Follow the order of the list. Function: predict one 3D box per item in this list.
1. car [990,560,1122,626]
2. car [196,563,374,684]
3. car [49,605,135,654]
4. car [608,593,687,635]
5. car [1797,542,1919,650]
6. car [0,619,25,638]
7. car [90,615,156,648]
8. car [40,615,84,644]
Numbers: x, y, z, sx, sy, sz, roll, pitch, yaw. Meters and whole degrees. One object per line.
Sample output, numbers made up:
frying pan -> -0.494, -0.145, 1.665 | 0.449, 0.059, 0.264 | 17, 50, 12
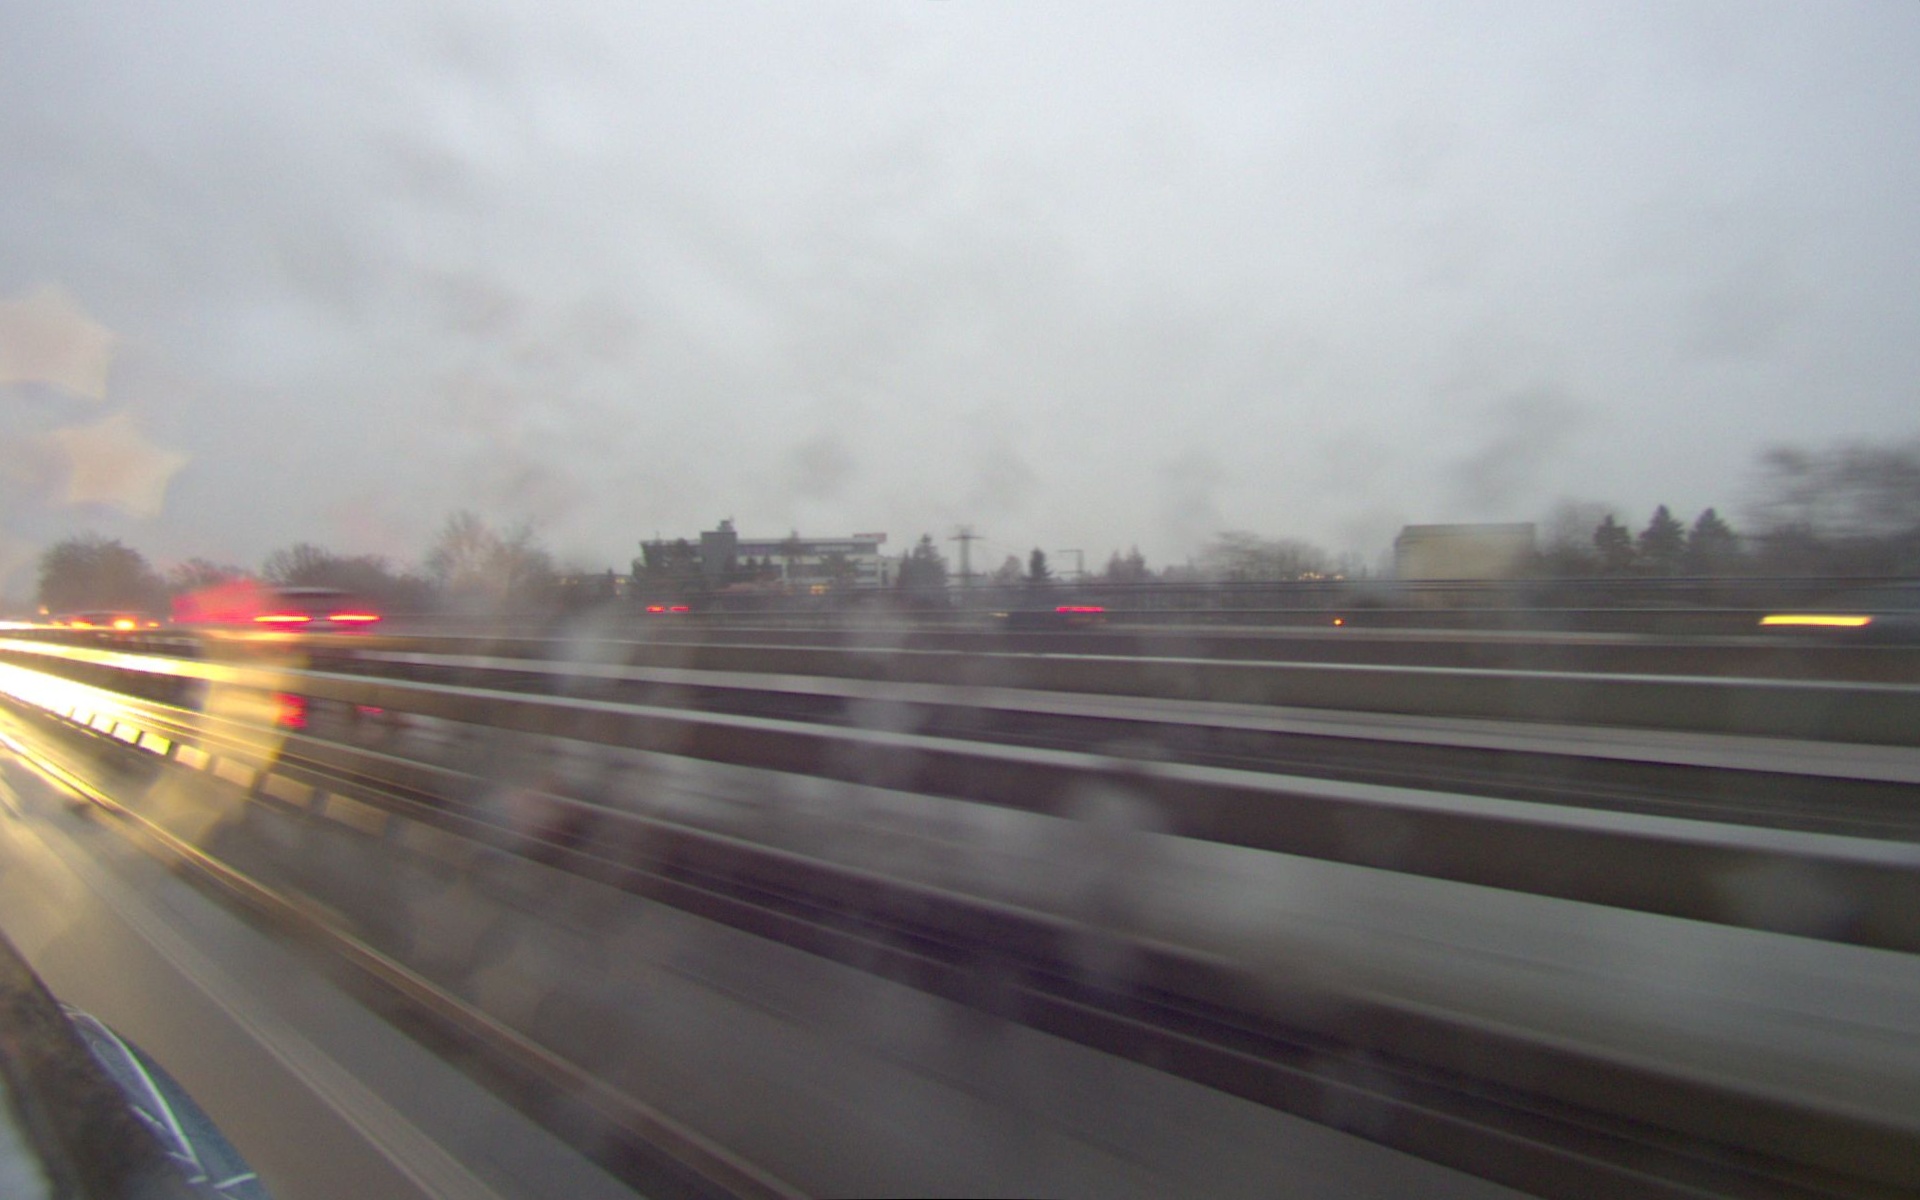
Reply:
car -> 3.206, -0.178, 34.055 | 3.998, 2.029, 1.973 | -2, -2, 41
car -> -14.174, 0.440, 21.126 | 5.053, 2.231, 1.972 | -1, 1, 43
car -> -33.009, 1.097, 38.451 | 3.999, 1.741, 1.972 | -1, 0, 42
car -> -15.655, 0.695, 50.588 | 3.998, 2.029, 1.973 | -1, 0, 41
car -> 18.869, -0.096, 19.634 | 3.998, 2.029, 1.973 | -1, 1, 41
car -> -81.447, 2.426, 86.488 | 3.920, 1.578, 1.836 | -2, -2, 41
car -> -41.753, 1.547, 50.459 | 4.198, 1.535, 1.947 | -2, -1, 42
car -> -59.934, 1.947, 67.506 | 3.998, 1.829, 1.724 | -2, -1, 41
